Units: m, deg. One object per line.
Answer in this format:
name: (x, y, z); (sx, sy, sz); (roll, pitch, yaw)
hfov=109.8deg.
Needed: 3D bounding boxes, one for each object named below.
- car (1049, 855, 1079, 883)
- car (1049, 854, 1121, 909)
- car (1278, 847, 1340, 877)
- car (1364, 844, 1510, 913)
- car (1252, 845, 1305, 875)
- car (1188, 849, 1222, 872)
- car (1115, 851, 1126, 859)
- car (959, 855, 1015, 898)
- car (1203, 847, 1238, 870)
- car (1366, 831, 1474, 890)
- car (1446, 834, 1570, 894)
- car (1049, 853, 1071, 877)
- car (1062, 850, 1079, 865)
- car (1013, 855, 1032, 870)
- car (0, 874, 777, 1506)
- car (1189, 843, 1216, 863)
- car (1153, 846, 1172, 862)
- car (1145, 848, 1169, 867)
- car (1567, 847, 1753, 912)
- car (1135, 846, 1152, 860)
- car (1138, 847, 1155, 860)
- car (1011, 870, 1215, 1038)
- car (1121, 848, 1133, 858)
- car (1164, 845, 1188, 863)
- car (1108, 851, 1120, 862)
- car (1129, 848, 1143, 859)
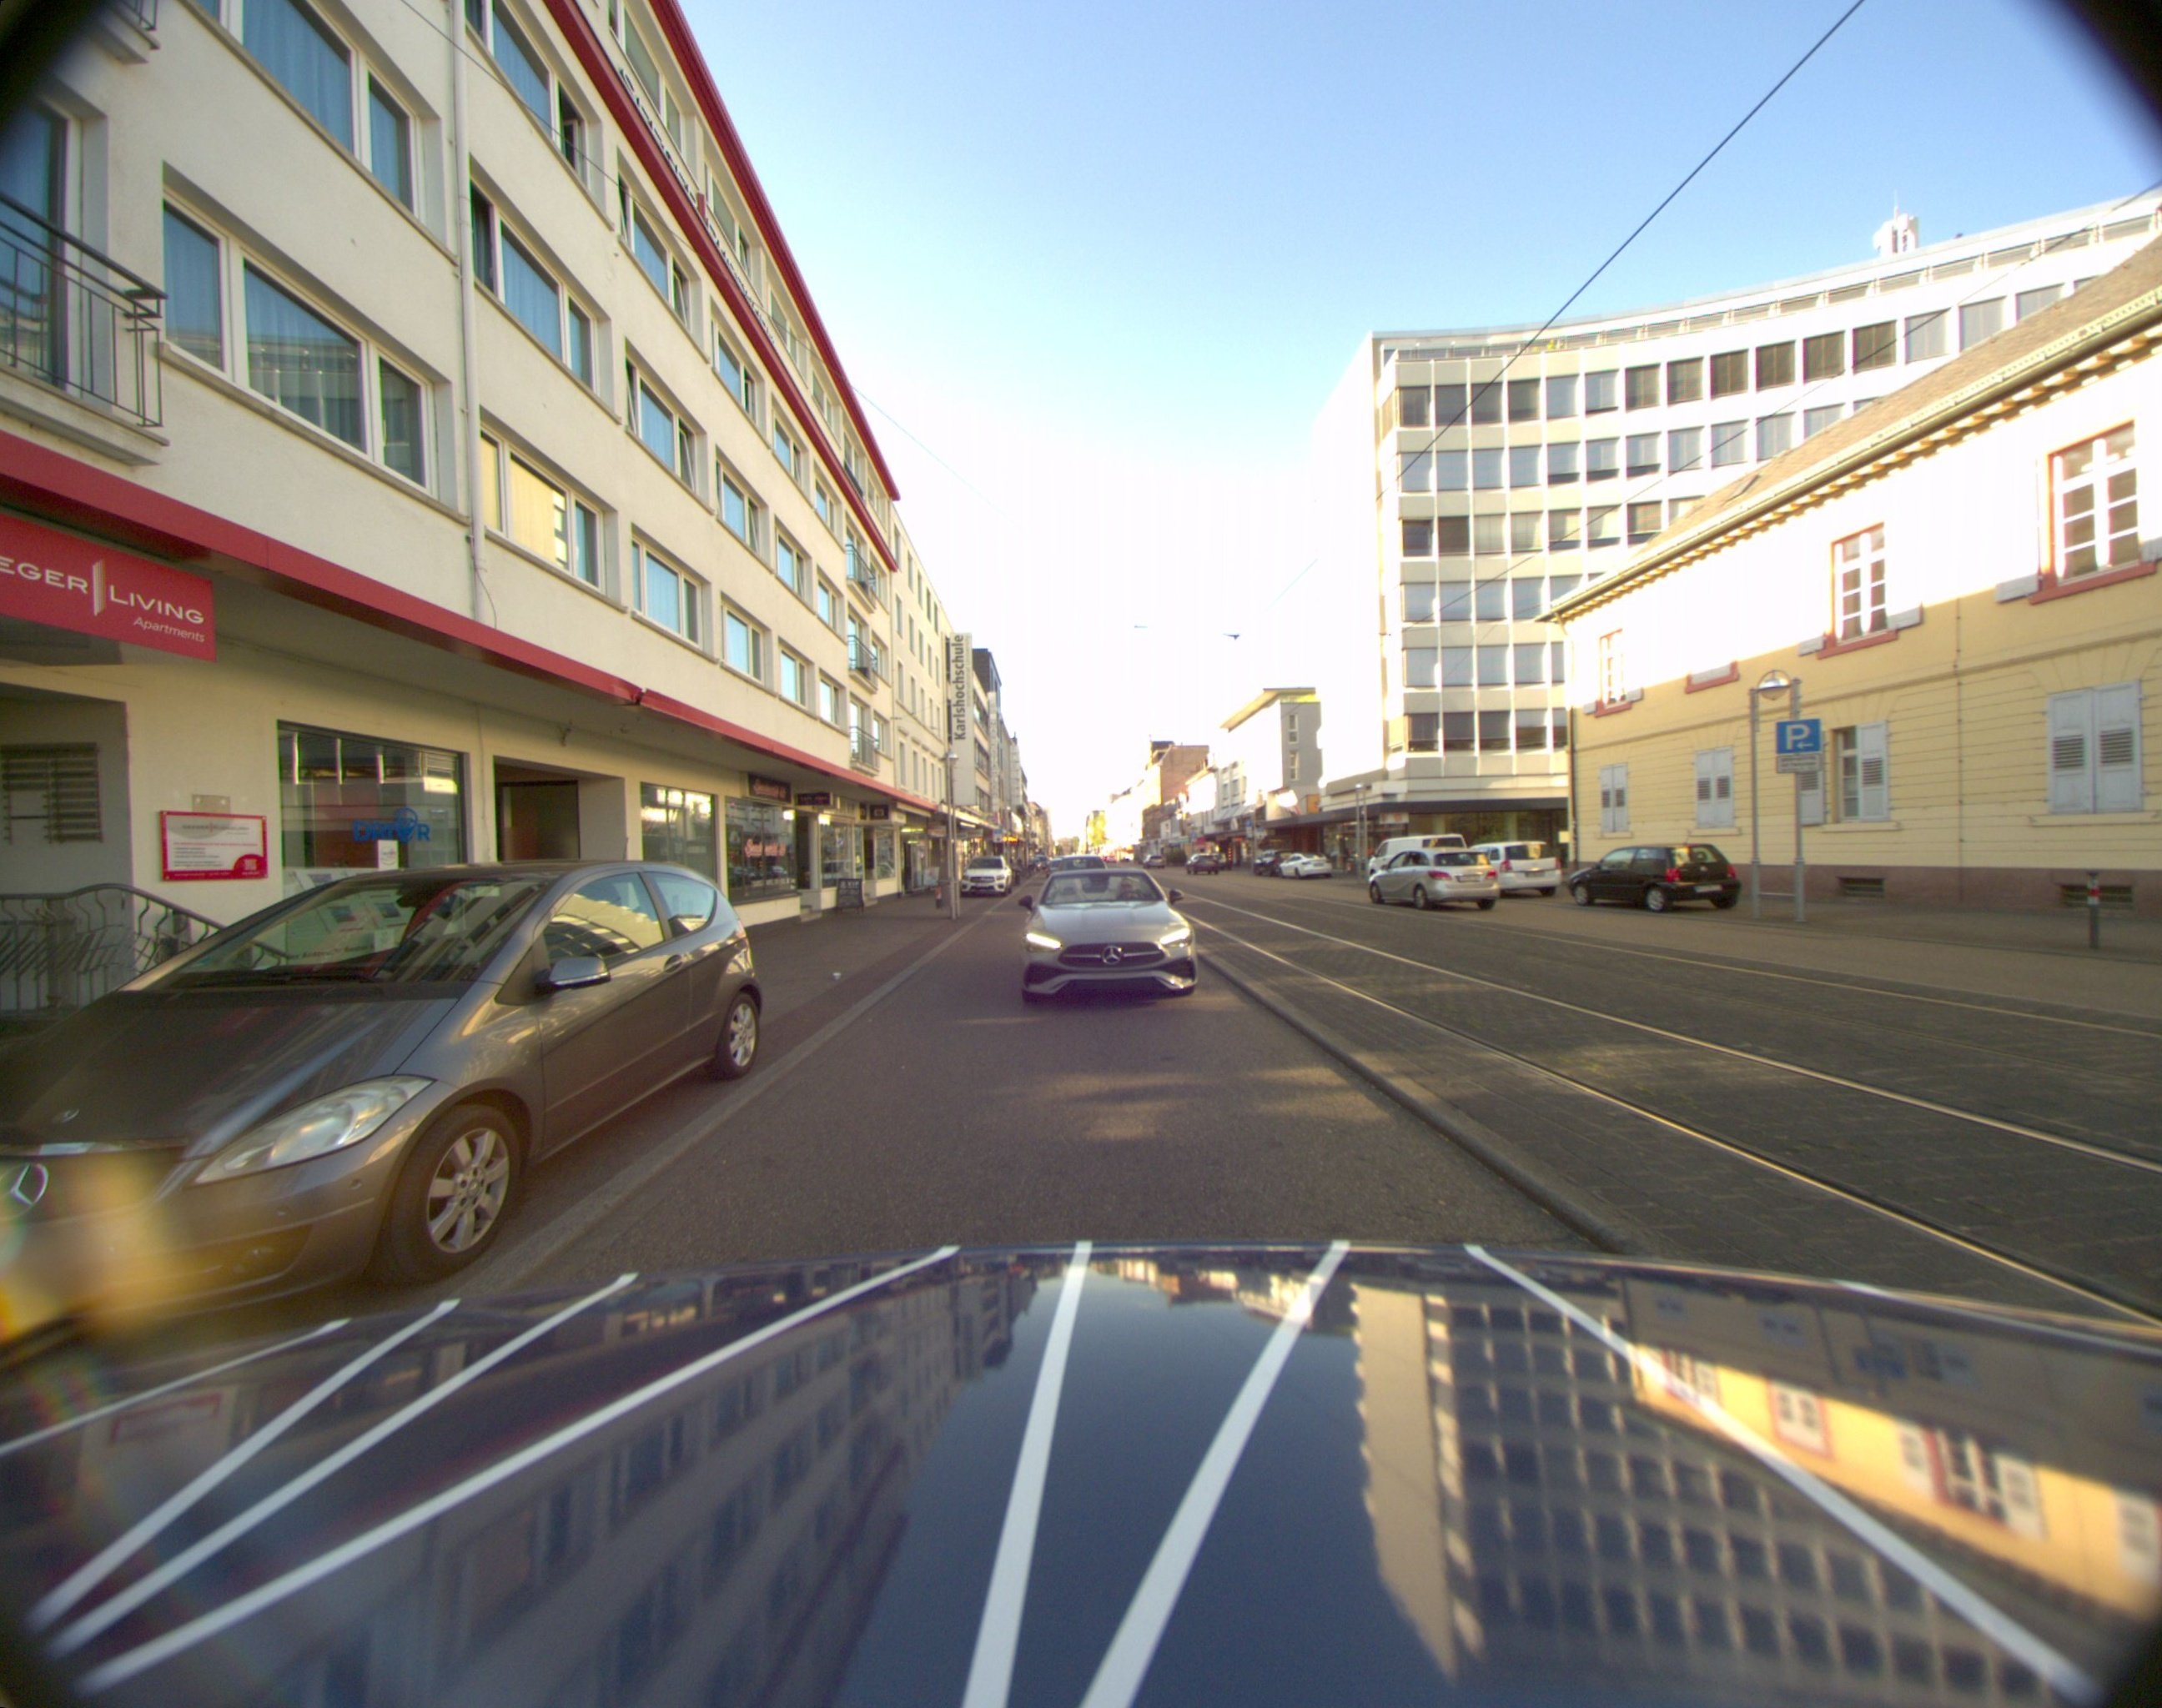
car: (-0.992, 0.851, 44.510); (1.648, 1.506, 3.844); (-2, 0, -2)
car: (0.029, 0.793, 24.202); (1.927, 1.533, 3.998); (-2, 0, -4)
car: (12.612, 0.416, 42.254); (1.999, 1.521, 4.373); (-2, 1, -1)
car: (9.069, 0.569, 19.733); (1.760, 1.587, 3.999); (-1, 0, -2)
car: (12.327, 0.356, 47.683); (1.999, 1.694, 4.107); (-3, 1, -2)
car: (8.923, 0.431, 54.913); (1.964, 1.499, 4.000); (-2, 1, 4)
car: (9.139, 0.210, 176.514); (2.148, 1.850, 3.998); (-2, 1, -2)
car: (-3.849, 0.883, 31.718); (1.999, 1.620, 3.998); (-1, 0, -4)
car: (11.964, 0.326, 65.401); (1.999, 1.849, 3.998); (-2, 1, -2)
car: (12.679, 0.227, 28.787); (2.040, 2.002, 4.621); (-1, 0, 1)
car: (12.848, 0.261, 23.152); (1.641, 1.600, 4.005); (-2, 1, 3)
car: (-1.586, 0.792, 57.910); (1.573, 1.670, 3.688); (-2, 1, -1)
car: (-1.303, 0.383, 96.128); (1.998, 1.793, 3.999); (-2, 1, 1)
car: (-6.228, 0.875, 81.281); (1.714, 1.430, 3.756); (-2, 1, -1)
car: (-3.224, 0.954, 3.968); (1.683, 1.537, 3.999); (-2, 0, -1)
car: (11.849, -0.070, 74.227); (1.789, 1.870, 3.999); (-1, 0, -2)
car: (10.818, -0.005, 101.151); (1.998, 2.002, 4.000); (-1, 0, 1)
car: (7.980, 0.298, 80.420); (1.914, 1.883, 3.855); (-2, 1, -2)
car: (12.874, 0.507, 17.154); (1.688, 1.246, 3.212); (-2, 1, -1)
car: (9.450, -0.179, 115.668); (1.999, 2.002, 3.998); (-2, 1, -2)
car: (10.535, -0.063, 122.234); (1.999, 2.002, 5.320); (-1, 0, -2)
car: (0.164, 0.975, 9.129); (1.884, 1.375, 3.998); (-2, 1, -4)
car: (9.543, -0.147, 157.307); (1.999, 2.002, 3.999); (-1, 0, -2)
car: (11.260, 0.014, 90.327); (2.200, 2.030, 3.999); (-1, 0, -1)
car: (6.602, 0.461, 150.650); (1.999, 2.002, 3.998); (-2, 1, -2)
car: (9.910, -0.094, 137.232); (1.999, 2.002, 3.999); (-1, 0, -2)
